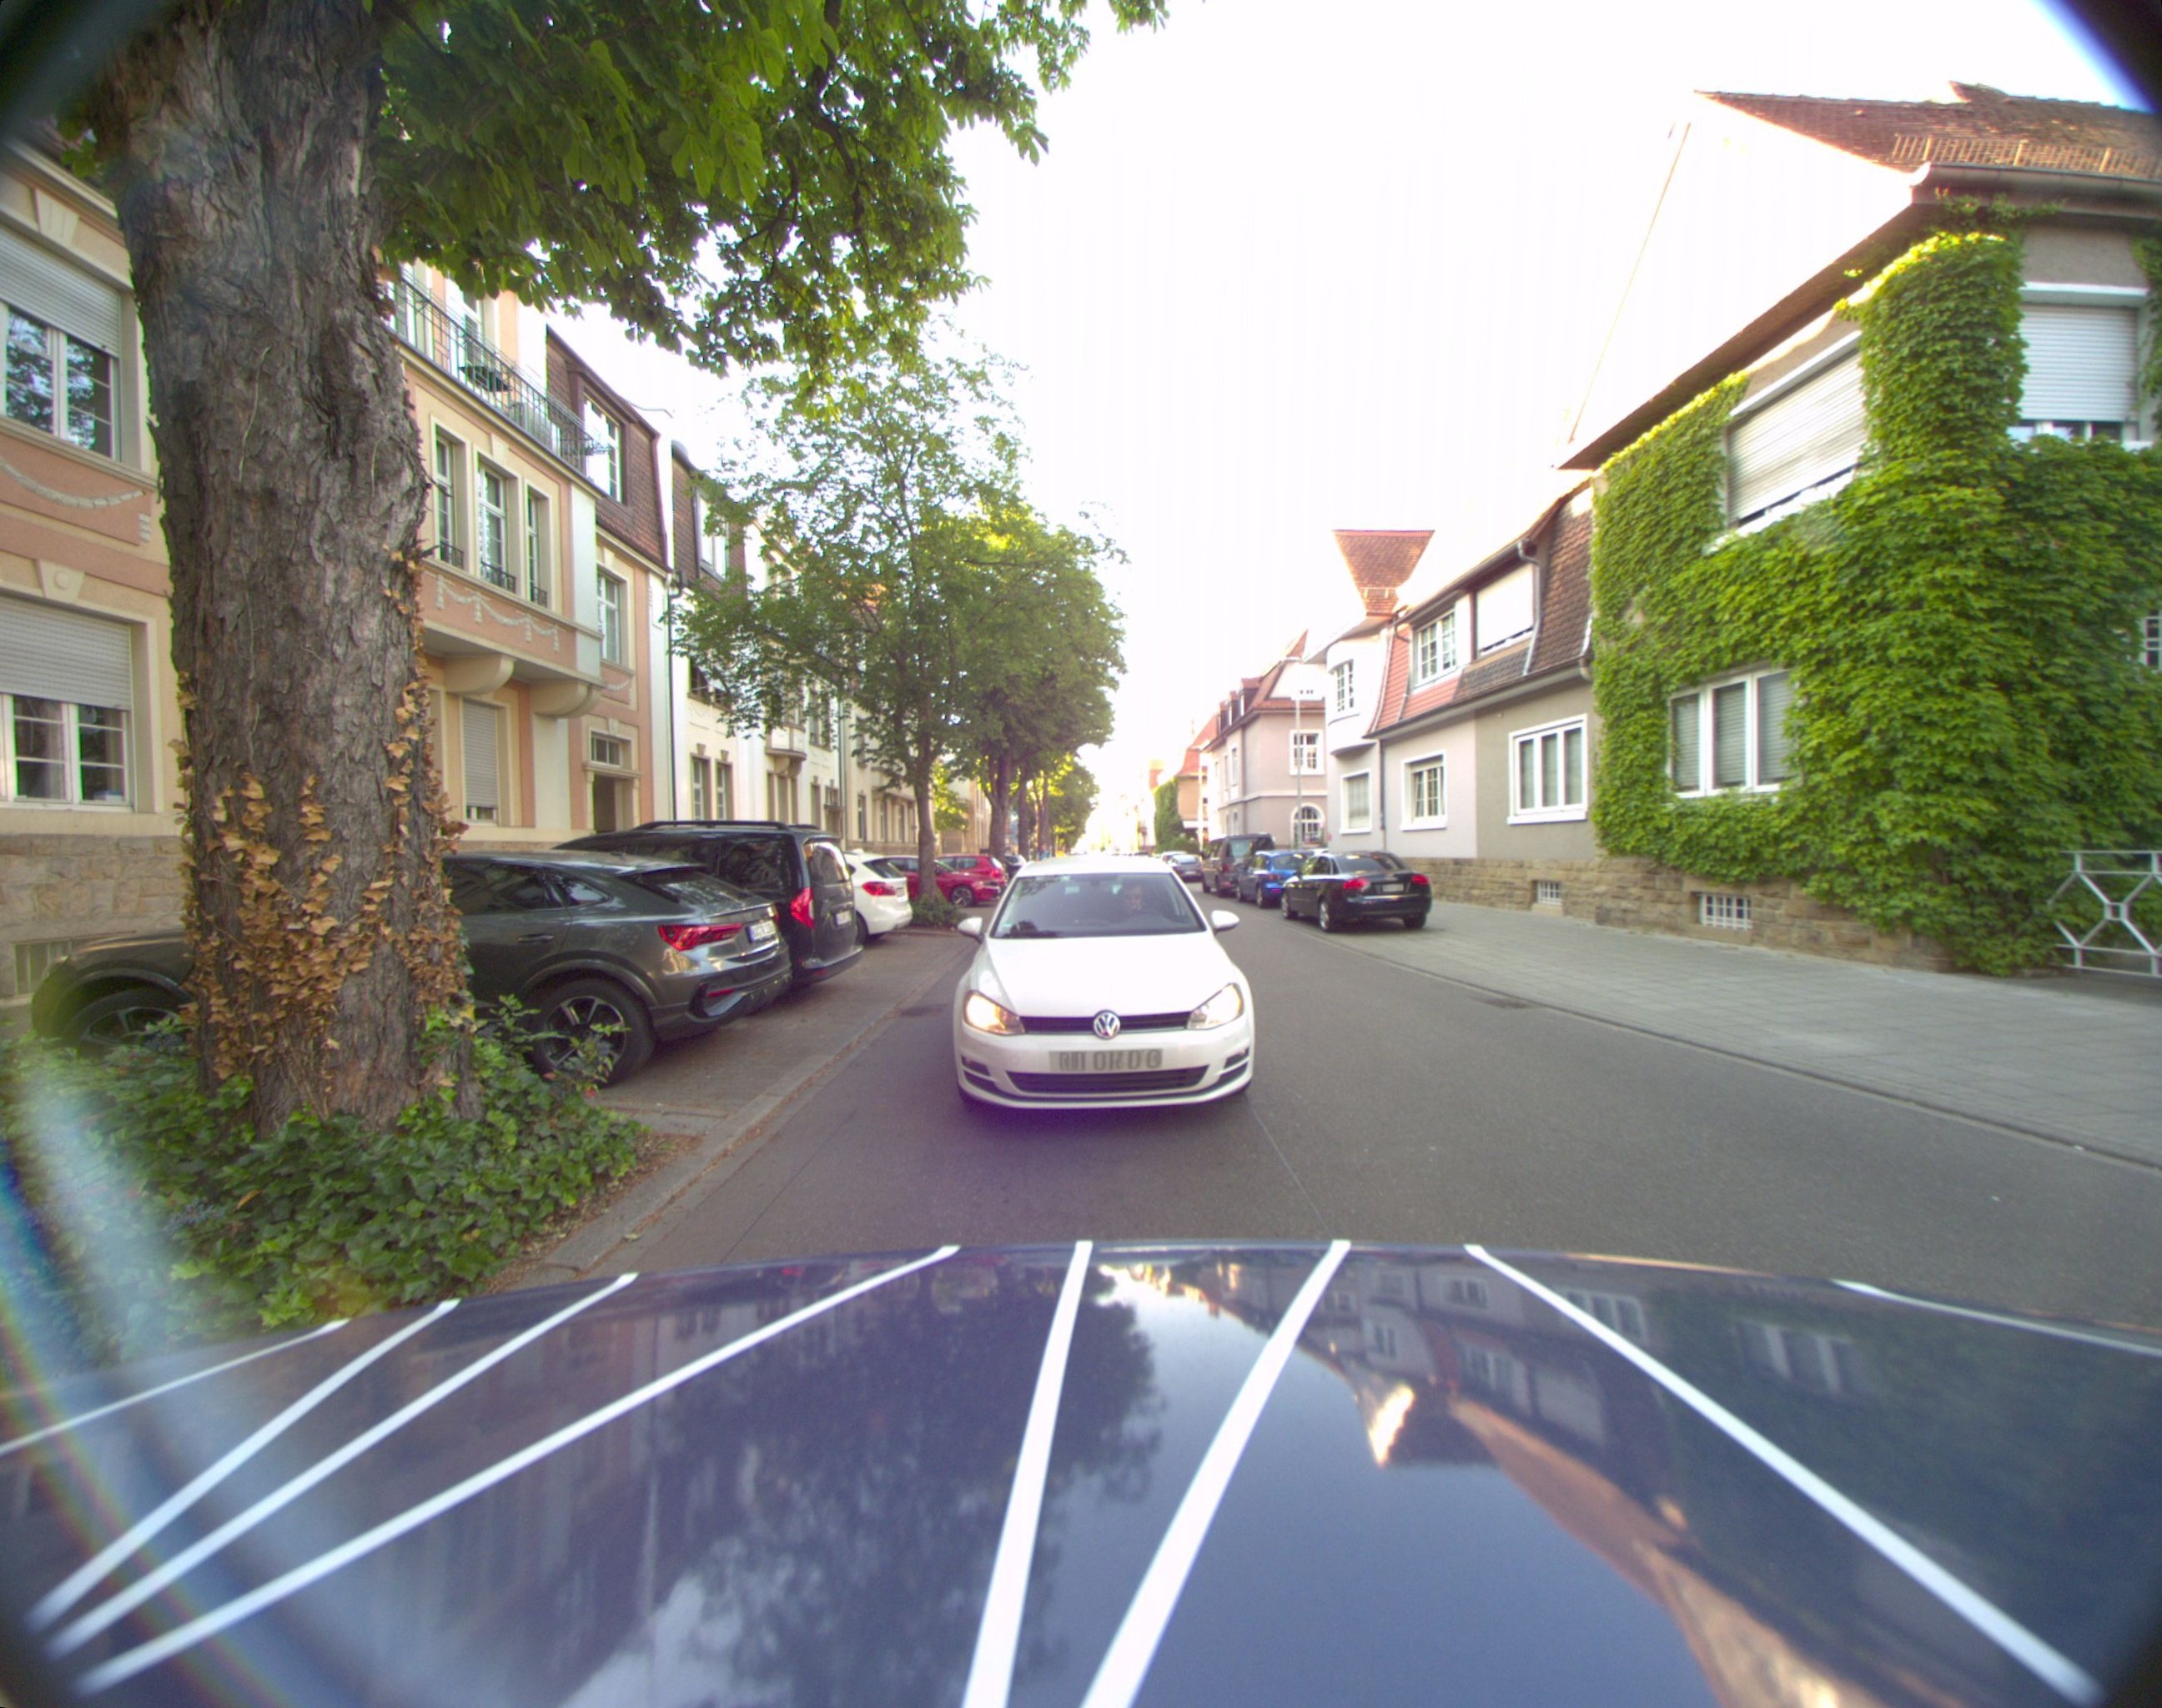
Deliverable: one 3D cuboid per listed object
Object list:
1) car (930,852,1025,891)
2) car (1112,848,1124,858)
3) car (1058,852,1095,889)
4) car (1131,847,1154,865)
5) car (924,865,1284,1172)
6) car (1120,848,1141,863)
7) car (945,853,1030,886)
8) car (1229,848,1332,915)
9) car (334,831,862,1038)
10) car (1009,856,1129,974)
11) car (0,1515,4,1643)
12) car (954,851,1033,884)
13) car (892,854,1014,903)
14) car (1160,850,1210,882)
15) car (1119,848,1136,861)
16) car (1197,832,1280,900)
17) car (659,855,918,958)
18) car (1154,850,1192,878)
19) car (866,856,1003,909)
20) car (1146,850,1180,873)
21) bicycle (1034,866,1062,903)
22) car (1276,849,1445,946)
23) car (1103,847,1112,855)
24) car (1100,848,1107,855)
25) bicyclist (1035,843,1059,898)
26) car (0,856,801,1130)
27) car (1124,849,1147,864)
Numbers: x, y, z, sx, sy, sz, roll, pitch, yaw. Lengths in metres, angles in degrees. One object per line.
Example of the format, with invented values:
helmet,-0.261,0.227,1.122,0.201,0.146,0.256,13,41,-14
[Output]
car,-4.178,0.689,30.938,3.622,1.555,1.537,0,1,0
car,5.667,-0.157,115.910,1.643,1.461,3.689,-3,1,0
car,-0.169,0.712,34.761,1.560,1.546,3.738,1,0,1
car,5.482,0.152,68.222,1.643,1.461,3.945,-3,1,0
car,0.084,0.877,5.927,1.799,1.420,4.023,-2,0,-1
car,5.208,0.171,80.841,1.643,1.461,3.688,-3,1,-4
car,-4.146,0.682,34.122,3.622,1.395,1.537,0,1,0
car,5.224,0.654,20.398,1.611,1.455,4.023,-4,1,0
car,-4.489,0.709,7.585,4.173,1.816,1.594,1,1,-4
car,-0.141,0.831,12.287,1.600,1.546,4.000,1,0,1
car,-4.667,0.787,0.508,4.835,1.814,1.880,1,1,-4
car,-4.206,0.631,36.872,3.622,1.555,1.537,0,1,0
car,-4.049,0.758,24.333,3.622,1.456,1.537,1,1,0
car,4.974,0.536,36.848,1.719,1.363,4.334,-3,0,0
car,5.552,0.007,91.069,1.643,1.461,3.689,-3,1,-1
car,5.125,0.324,25.304,1.719,1.961,4.310,-4,1,0
car,-4.616,0.810,12.374,3.623,1.541,1.537,1,1,-4
car,5.086,0.521,42.362,1.541,1.363,3.945,-3,0,0
car,-4.143,0.791,21.809,3.622,1.395,1.537,1,1,0
car,5.438,0.472,50.642,1.719,1.363,3.945,-3,0,0
bicycle,-1.065,0.971,25.041,0.744,1.111,2.013,-2,0,1
car,5.098,0.699,14.466,1.751,1.421,4.023,-4,1,1
car,5.217,-0.589,149.283,1.643,1.461,3.689,-3,1,0
car,5.130,-0.546,173.332,1.643,1.461,3.689,-3,1,0
bicyclist,-1.120,0.542,25.139,0.648,1.765,0.830,-2,1,1
car,-4.374,0.844,5.406,4.173,1.583,1.594,1,1,-4
car,5.393,0.235,75.476,1.643,1.461,3.688,-3,1,-4
